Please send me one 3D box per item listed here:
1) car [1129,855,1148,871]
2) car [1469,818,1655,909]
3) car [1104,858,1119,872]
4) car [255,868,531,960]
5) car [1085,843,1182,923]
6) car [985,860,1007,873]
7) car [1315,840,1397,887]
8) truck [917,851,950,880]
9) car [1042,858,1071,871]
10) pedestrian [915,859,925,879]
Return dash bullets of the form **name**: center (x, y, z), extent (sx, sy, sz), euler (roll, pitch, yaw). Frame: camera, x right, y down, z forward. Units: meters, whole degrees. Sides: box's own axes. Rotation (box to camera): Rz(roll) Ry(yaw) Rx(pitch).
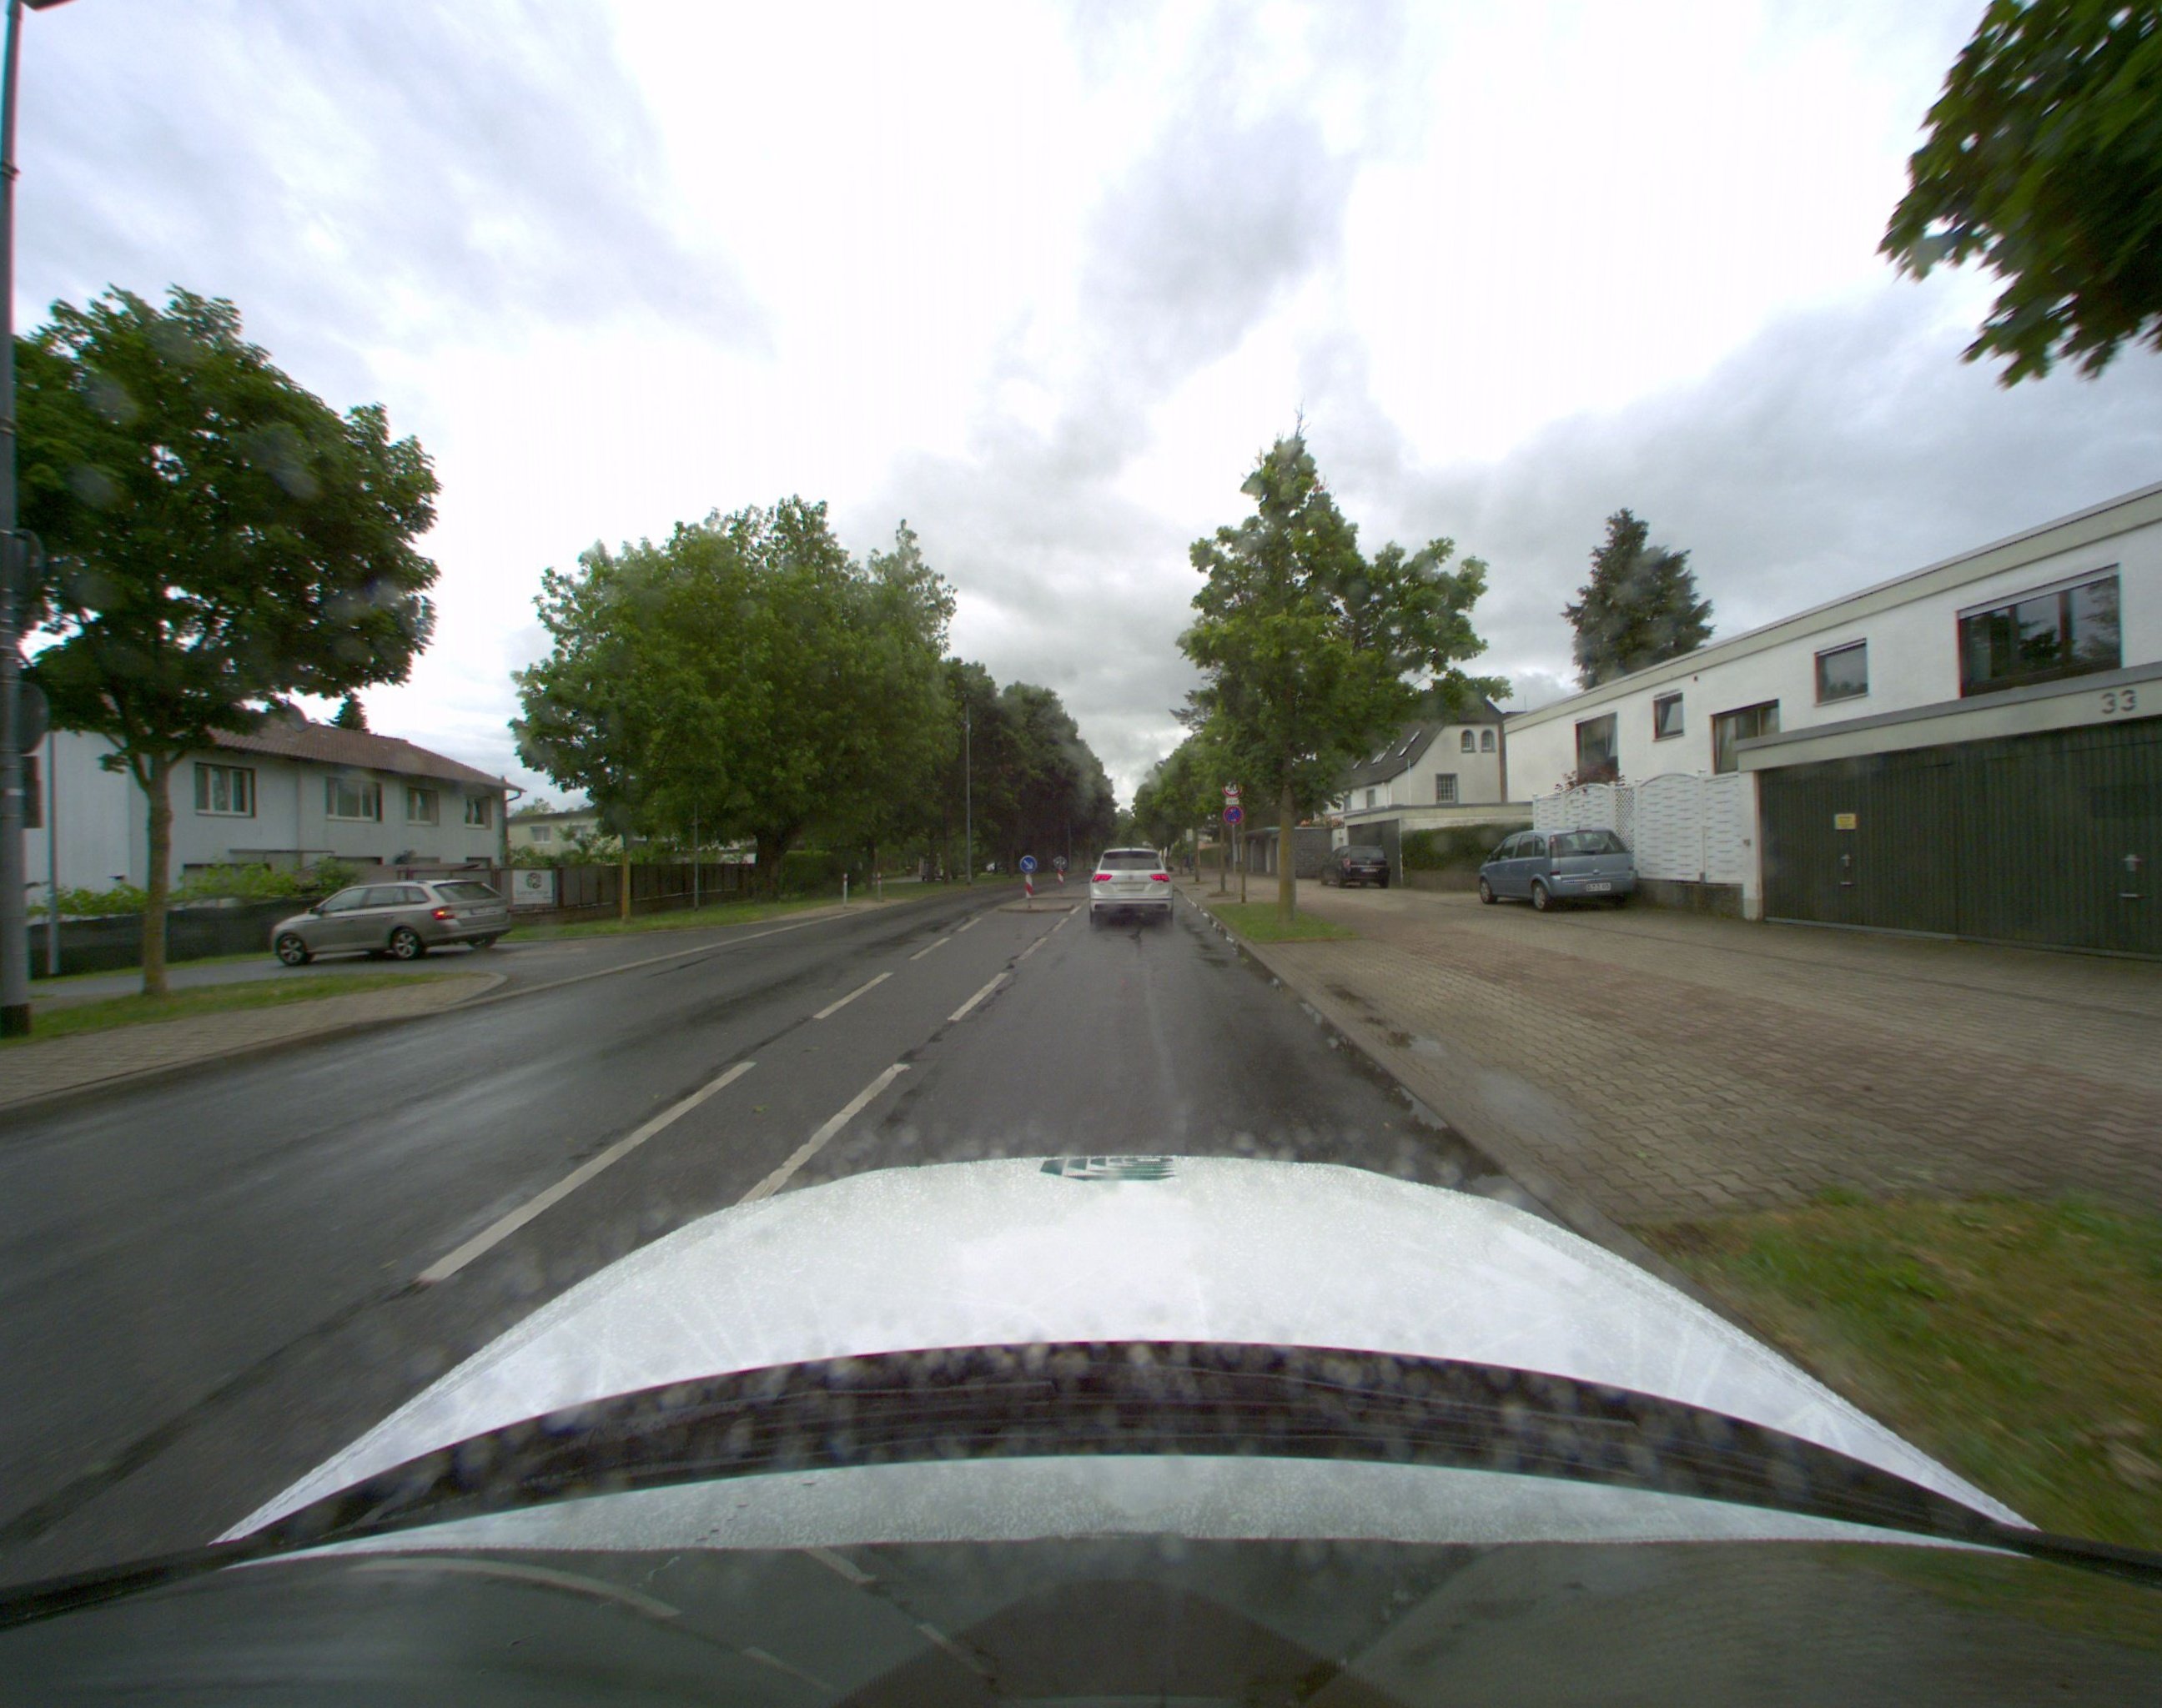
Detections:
- **car**: center (5.669, 0.835, 80.003), extent (1.832, 1.487, 4.004), euler (1, 0, 4)
- **car**: center (9.787, 0.171, 16.971), extent (1.735, 1.611, 4.006), euler (-2, 0, 5)
- **car**: center (3.850, 1.351, 102.566), extent (1.807, 1.648, 4.003), euler (0, 0, 3)
- **car**: center (-13.190, 1.123, 15.744), extent (3.964, 1.487, 1.851), euler (-3, -1, 8)
- **car**: center (1.160, 0.605, 18.864), extent (1.989, 1.632, 4.002), euler (-1, 0, 2)
- **car**: center (-9.999, 1.491, 95.630), extent (1.845, 1.482, 3.978), euler (-2, -1, -16)
- **car**: center (9.876, 0.320, 29.629), extent (1.762, 1.498, 4.550), euler (-2, 0, 5)
- **truck**: center (-13.924, 1.065, 77.171), extent (2.279, 2.597, 5.868), euler (-2, -1, -2)
- **car**: center (-2.955, 1.251, 97.748), extent (1.853, 1.482, 3.961), euler (-1, -1, -31)
- **pedestrian**: center (-14.556, 1.342, 73.702), extent (0.707, 1.841, 0.824), euler (-2, 0, -2)
